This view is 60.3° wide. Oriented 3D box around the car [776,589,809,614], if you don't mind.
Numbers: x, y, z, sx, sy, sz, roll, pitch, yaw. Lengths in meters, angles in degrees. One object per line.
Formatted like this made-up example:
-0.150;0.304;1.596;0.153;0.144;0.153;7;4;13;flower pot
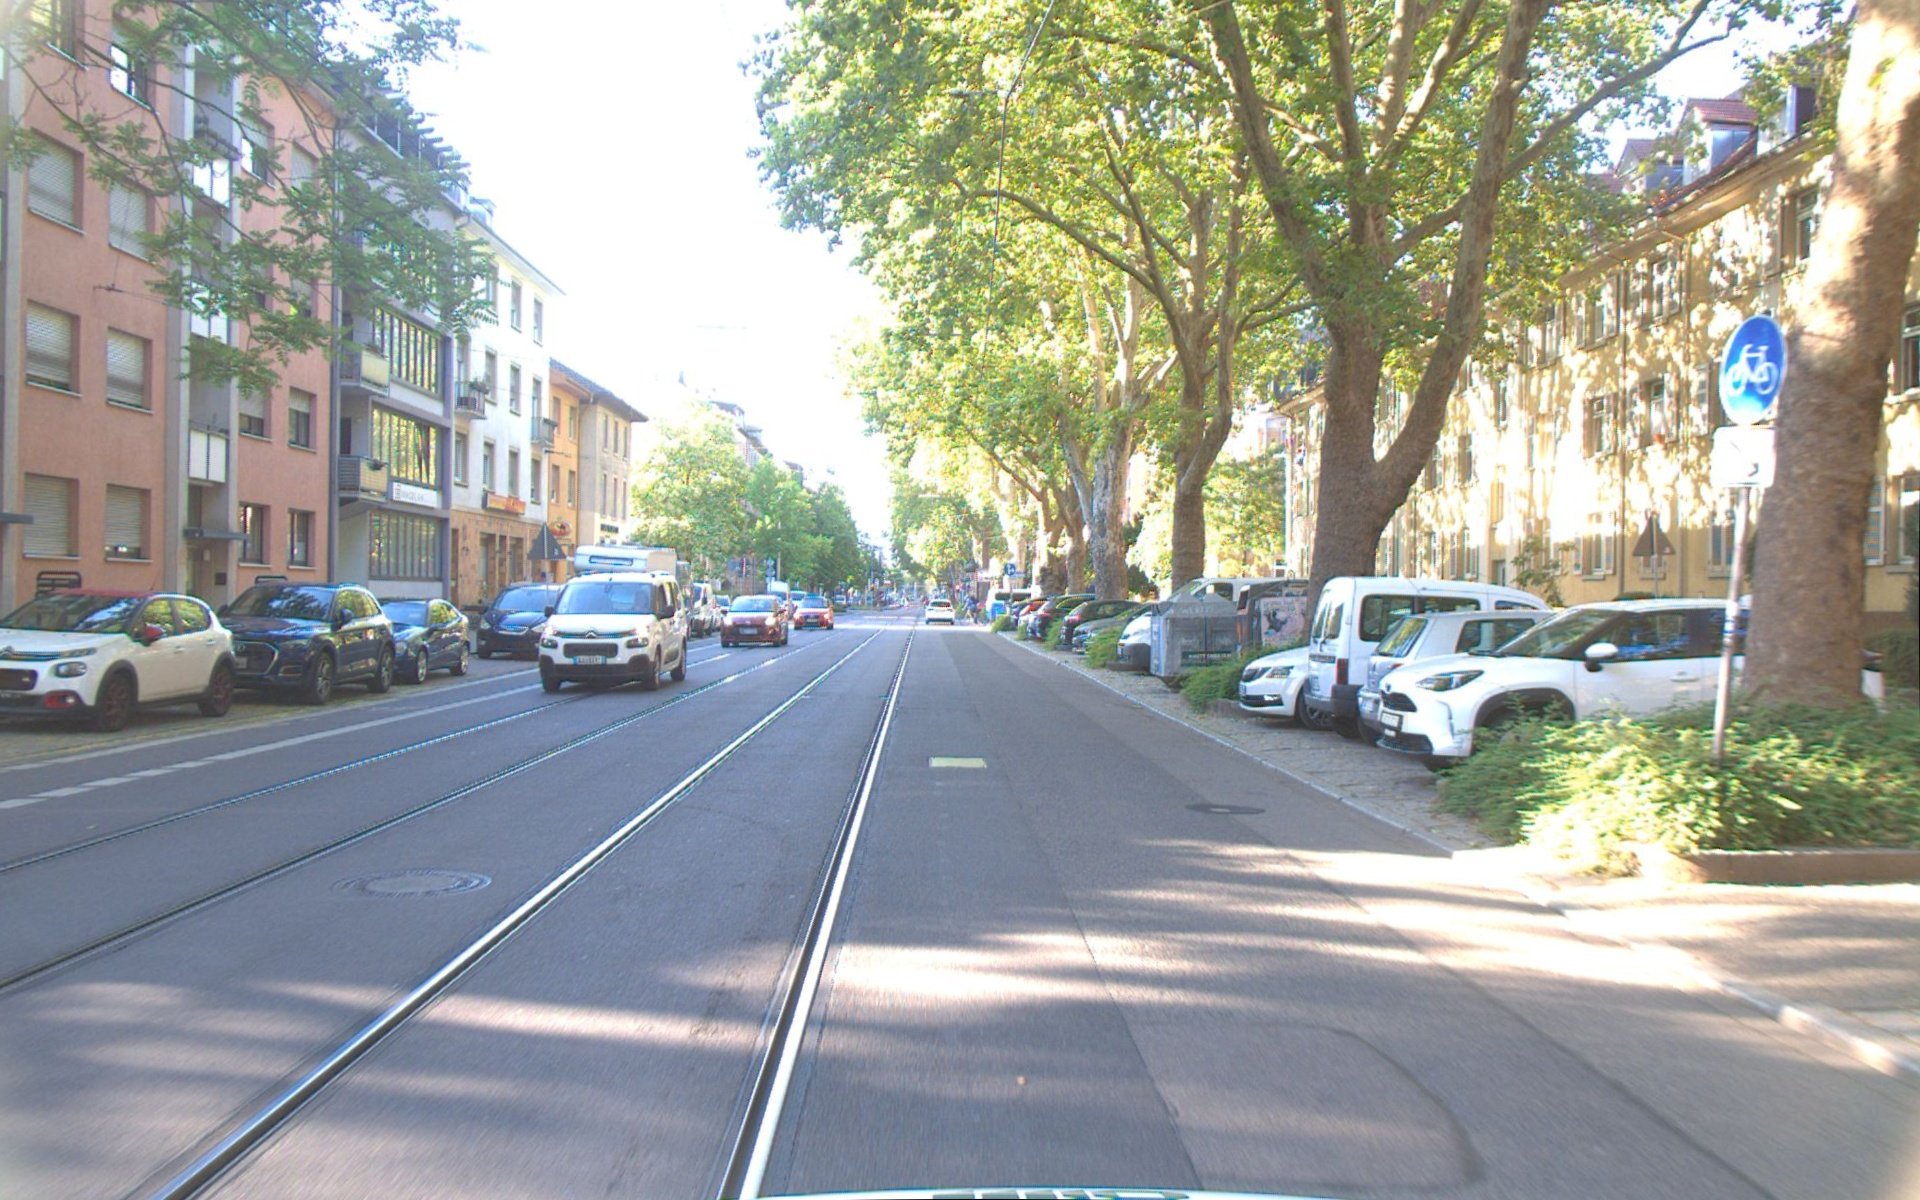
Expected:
-12.693;0.116;125.431;2.129;1.893;4.657;0;0;-1;car

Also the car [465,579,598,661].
-9.951;0.430;38.808;1.913;1.716;5.068;2;0;-2;car

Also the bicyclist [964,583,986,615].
0.823;-0.049;90.533;1.027;1.735;1.055;0;0;-11;bicyclist

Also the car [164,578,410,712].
-9.551;0.573;23.891;1.745;1.638;4.586;3;0;-2;car

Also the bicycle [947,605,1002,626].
0.792;0.863;90.538;2.895;1.124;1.049;0;0;-11;bicycle

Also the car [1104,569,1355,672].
5.444;0.403;33.832;4.740;1.997;2.063;0;0;-4;car

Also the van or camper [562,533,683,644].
-10.331;-0.343;51.202;2.290;3.093;6.396;4;0;0;van or camper

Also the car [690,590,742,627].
-10.923;0.370;74.401;1.800;1.494;5.066;3;0;-3;car

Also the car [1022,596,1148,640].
4.327;0.629;57.727;4.209;1.464;1.947;0;0;-3;car

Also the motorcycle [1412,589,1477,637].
14.907;0.397;50.881;1.768;1.385;0.622;-3;0;-4;motorcycle

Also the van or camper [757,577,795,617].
-12.314;-0.193;110.763;2.037;2.577;5.316;0;0;-1;van or camper

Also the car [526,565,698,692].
-5.488;0.407;26.710;1.853;1.864;4.894;0;0;-2;car

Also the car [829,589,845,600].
-15.212;-0.693;204.060;1.880;1.443;3.718;0;0;-3;car

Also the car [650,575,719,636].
-10.580;0.160;63.869;1.914;2.127;5.245;4;1;-3;car

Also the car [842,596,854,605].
-17.479;0.075;258.364;1.880;1.443;3.588;0;0;-4;car

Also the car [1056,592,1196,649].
4.648;0.570;46.623;3.760;1.536;1.710;0;0;-2;car

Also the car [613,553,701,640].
-10.513;-0.130;57.812;2.044;2.779;5.308;3;0;-1;car

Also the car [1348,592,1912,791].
5.521;0.734;13.986;4.006;1.548;1.915;0;-1;-3;car

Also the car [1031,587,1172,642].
4.503;0.451;53.254;4.402;1.630;2.028;-1;0;2;car

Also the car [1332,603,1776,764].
5.747;0.779;16.382;3.764;1.458;1.852;1;0;2;car

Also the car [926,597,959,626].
-1.036;0.676;97.973;1.879;1.612;3.790;-1;0;-2;car

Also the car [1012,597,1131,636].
4.412;0.651;66.122;4.591;1.472;1.891;0;0;-1;car

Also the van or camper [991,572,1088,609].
4.649;-0.546;97.157;5.448;2.048;2.242;0;3;-6;van or camper

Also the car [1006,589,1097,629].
4.040;0.384;73.205;3.845;1.699;1.960;0;0;-3;car

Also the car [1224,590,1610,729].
5.516;0.696;20.365;4.279;1.569;1.802;1;1;2;car

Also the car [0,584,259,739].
-9.759;0.621;18.823;1.769;1.504;4.089;3;0;0;car

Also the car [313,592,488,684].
-9.805;0.621;29.341;1.703;1.425;4.381;3;0;-2;car

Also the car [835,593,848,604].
-16.910;-0.209;236.283;1.880;1.443;3.588;0;0;-4;car

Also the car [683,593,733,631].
-10.636;0.498;69.923;1.539;1.553;3.040;2;0;0;car

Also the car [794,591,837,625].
-6.554;0.348;75.259;1.688;1.462;4.068;-1;0;-2;car

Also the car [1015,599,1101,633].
4.174;0.679;70.984;3.576;1.402;1.889;0;0;-1;car

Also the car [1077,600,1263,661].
4.995;0.722;39.842;4.305;1.404;1.804;1;0;2;car

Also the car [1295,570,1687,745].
5.765;0.598;18.345;3.764;1.803;1.917;1;0;2;car

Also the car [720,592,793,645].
-6.024;0.524;49.299;1.740;1.483;4.201;-1;0;-2;car

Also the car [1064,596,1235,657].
4.851;0.658;42.720;4.161;1.509;1.897;0;0;-2;car
